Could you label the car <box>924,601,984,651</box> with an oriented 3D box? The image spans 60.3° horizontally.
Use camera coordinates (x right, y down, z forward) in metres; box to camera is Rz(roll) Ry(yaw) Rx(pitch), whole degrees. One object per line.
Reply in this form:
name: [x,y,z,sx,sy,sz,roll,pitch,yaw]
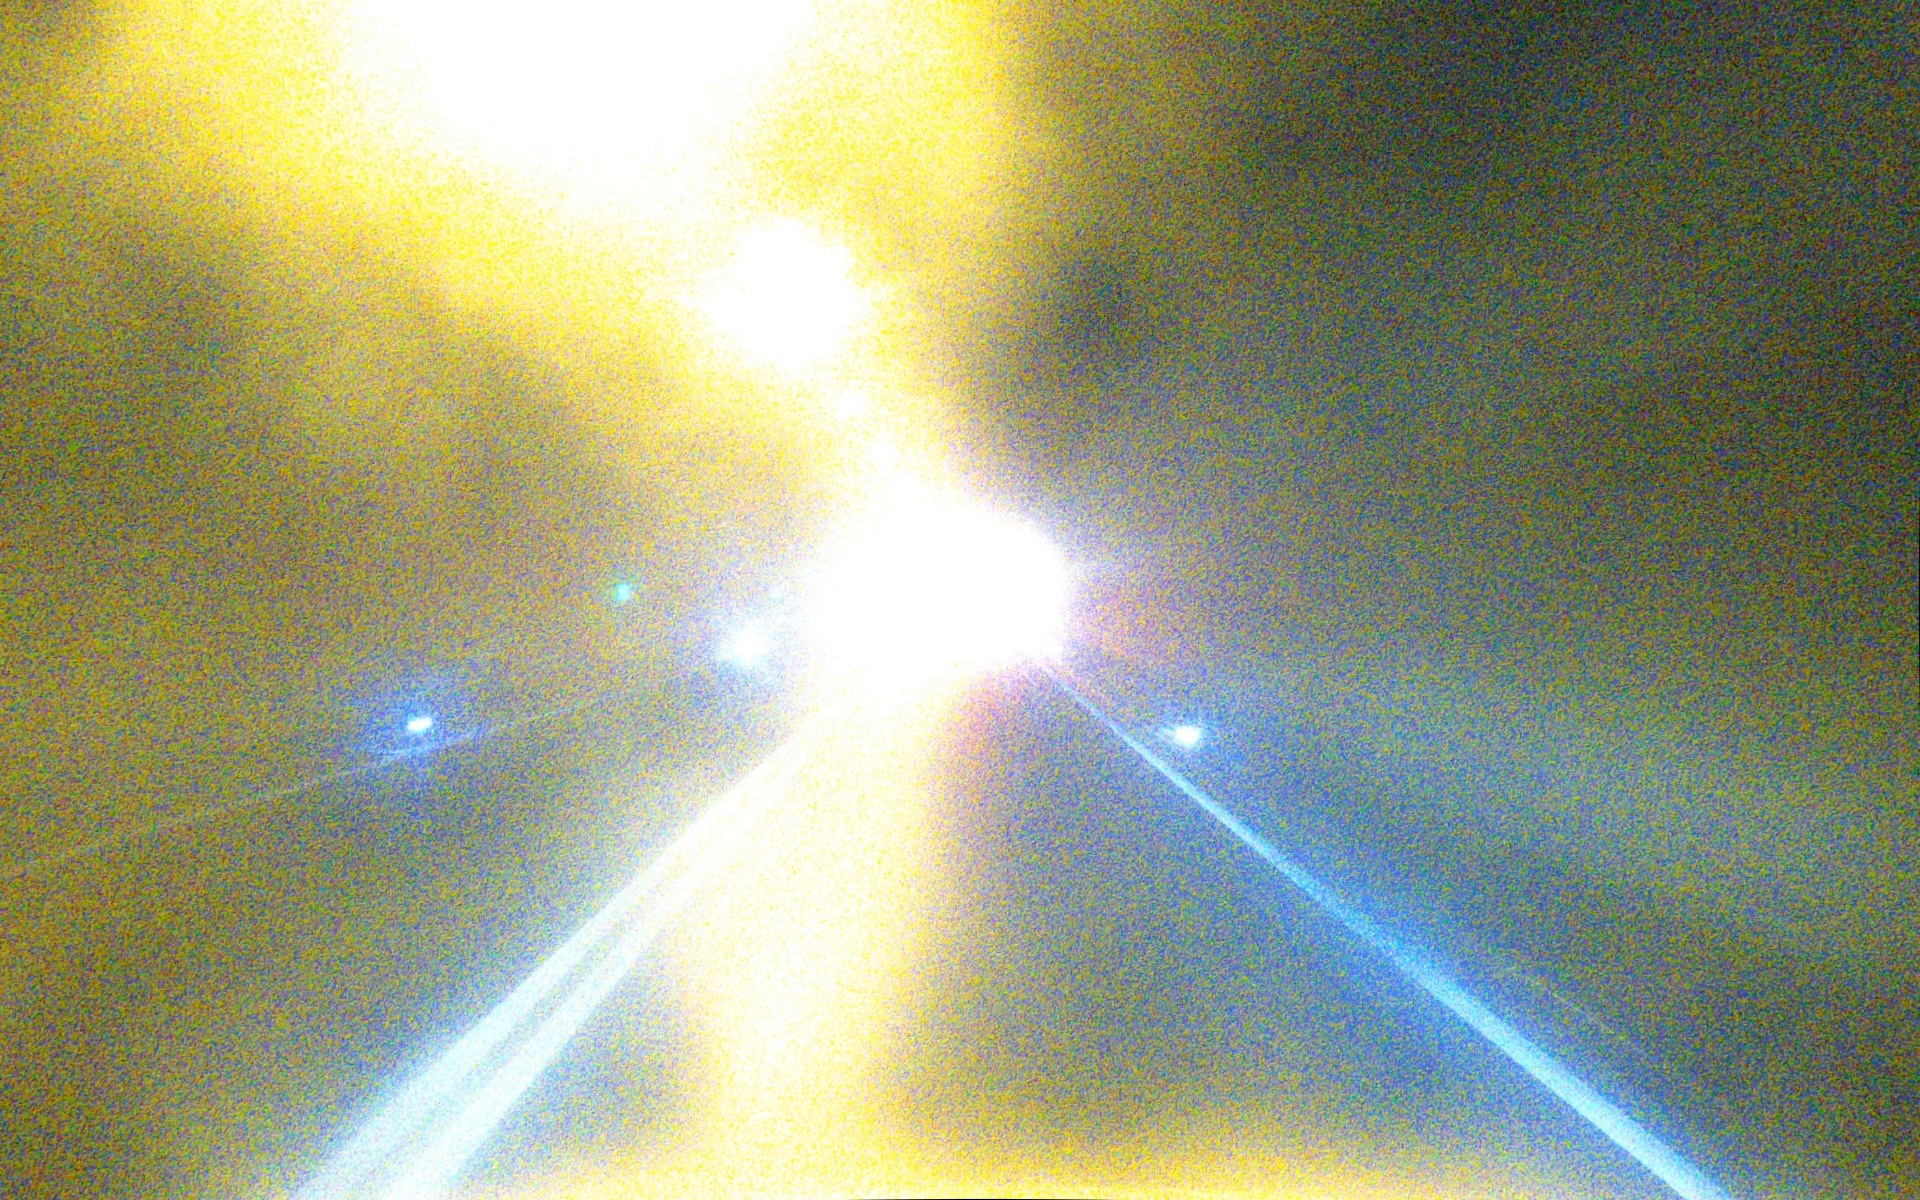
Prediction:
car: [-0.209,0.903,58.184,2.047,1.691,4.000,0,0,0]
